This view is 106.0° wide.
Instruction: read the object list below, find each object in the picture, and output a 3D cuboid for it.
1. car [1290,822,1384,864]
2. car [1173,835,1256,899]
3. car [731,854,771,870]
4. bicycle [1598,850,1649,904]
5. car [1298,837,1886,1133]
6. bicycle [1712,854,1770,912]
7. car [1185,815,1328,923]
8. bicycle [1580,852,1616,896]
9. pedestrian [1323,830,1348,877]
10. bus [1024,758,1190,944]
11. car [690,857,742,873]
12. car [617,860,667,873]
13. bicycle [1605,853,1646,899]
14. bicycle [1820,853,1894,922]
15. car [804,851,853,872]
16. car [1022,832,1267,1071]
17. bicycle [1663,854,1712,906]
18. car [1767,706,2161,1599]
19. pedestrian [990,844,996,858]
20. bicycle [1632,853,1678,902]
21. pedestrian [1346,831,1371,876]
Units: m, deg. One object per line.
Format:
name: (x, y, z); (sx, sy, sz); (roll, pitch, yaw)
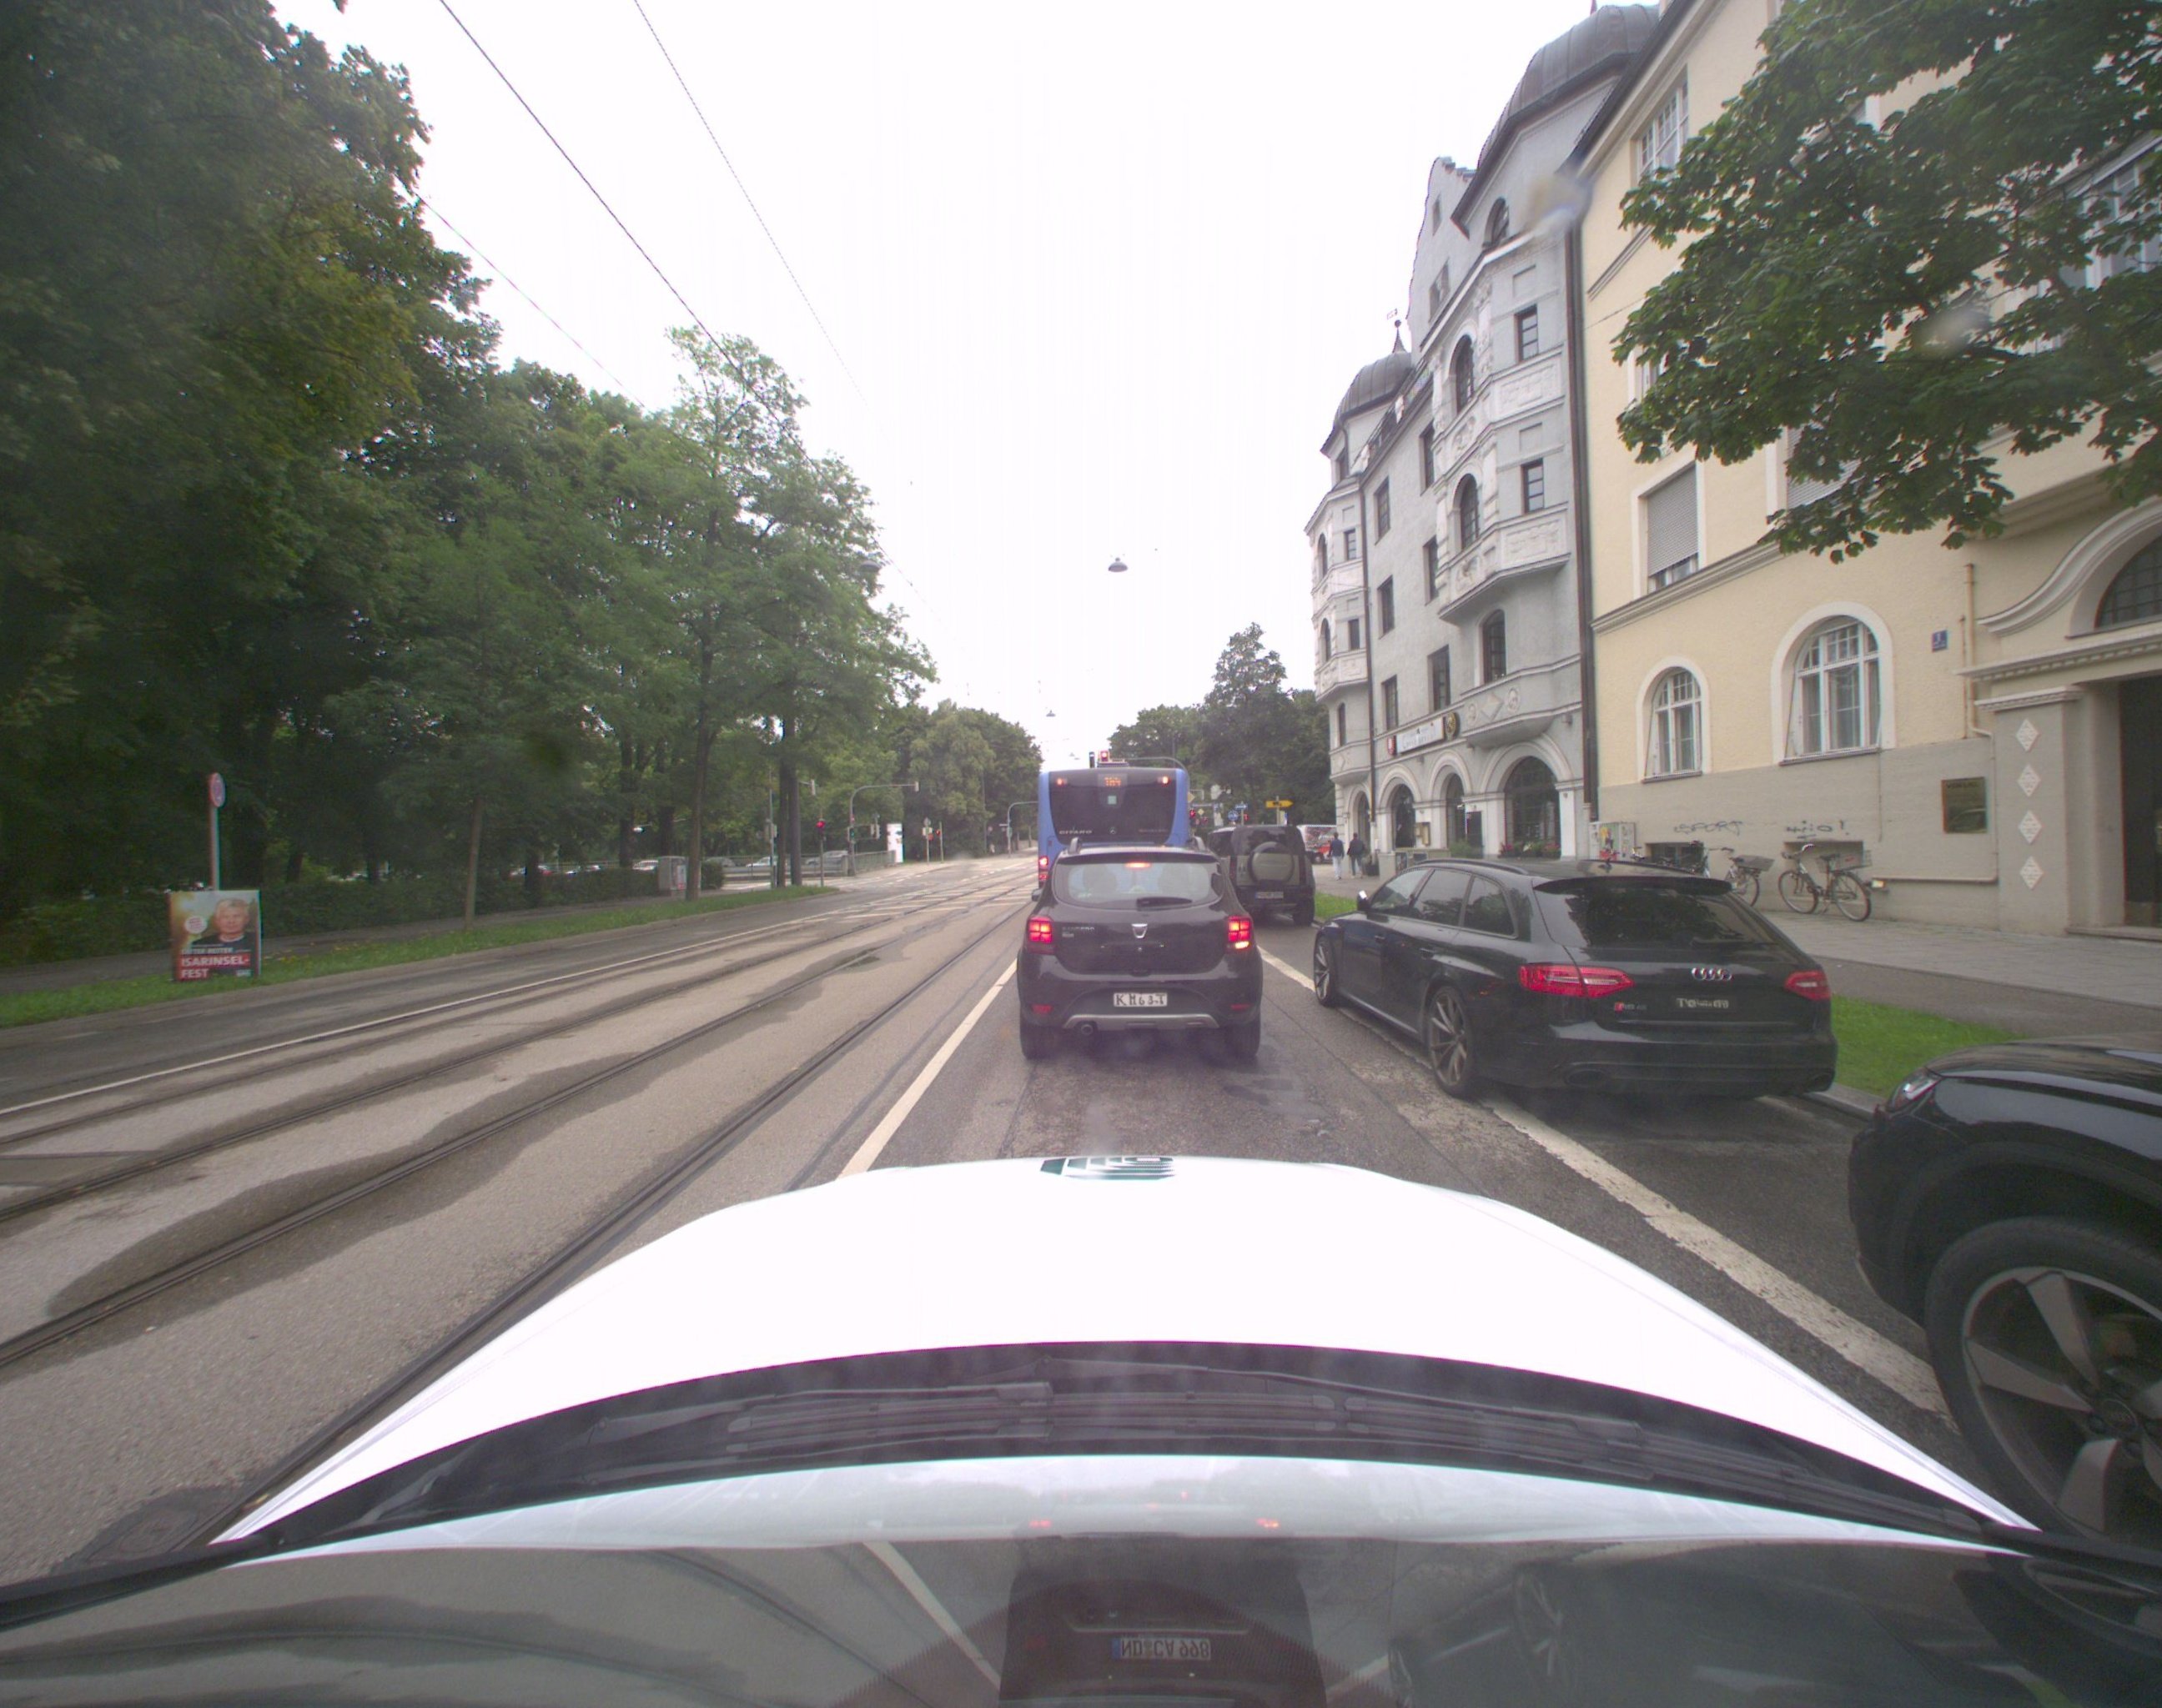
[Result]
car: (16.118, -0.688, 51.416); (5.281, 2.612, 2.229); (0, 0, -2)
car: (3.570, 0.327, 22.444); (1.708, 1.591, 4.329); (0, 0, 2)
car: (-29.812, 0.720, 73.711); (3.103, 1.452, 1.249); (0, 0, -4)
bicycle: (10.811, 0.441, 16.270); (0.241, 1.039, 1.224); (0, 0, 2)
car: (3.072, 0.628, 6.225); (1.709, 1.426, 4.603); (0, 0, 1)
bicycle: (10.998, 0.465, 13.586); (0.284, 0.930, 0.886); (0, 0, 3)
car: (3.416, 0.263, 16.853); (1.908, 1.905, 4.807); (0, 0, 0)
bicycle: (11.281, 0.425, 17.788); (0.258, 0.930, 0.886); (0, 0, 3)
pedestrian: (9.952, -0.016, 31.841); (0.702, 1.816, 0.870); (0, 0, 2)
bus: (0.424, -0.063, 16.609); (2.670, 2.997, 6.960); (0, 0, 0)
car: (-32.999, 0.972, 73.677); (3.915, 1.404, 1.719); (0, 0, -3)
car: (-39.516, 1.125, 73.333); (3.720, 1.185, 1.249); (0, 0, -4)
bicycle: (11.253, 0.441, 16.850); (0.289, 0.930, 0.886); (0, 0, 3)
bicycle: (10.988, 0.456, 11.555); (0.220, 0.930, 0.886); (0, 0, 1)
car: (-22.963, 0.661, 74.197); (4.016, 1.887, 1.488); (0, 0, -5)
car: (0.454, 0.633, 7.067); (1.595, 1.556, 3.526); (0, 0, 1)
bicycle: (11.099, 0.462, 14.922); (0.271, 0.930, 0.886); (0, 0, 3)
car: (2.829, 0.550, 0.146); (1.767, 1.658, 4.490); (-1, 0, 2)
pedestrian: (-9.531, -0.294, 88.027); (0.529, 1.501, 0.589); (0, 0, 6)
bicycle: (11.190, 0.437, 15.890); (0.304, 0.930, 0.886); (0, 0, 3)
pedestrian: (10.743, -0.010, 31.525); (0.702, 1.732, 0.843); (0, 0, 2)
